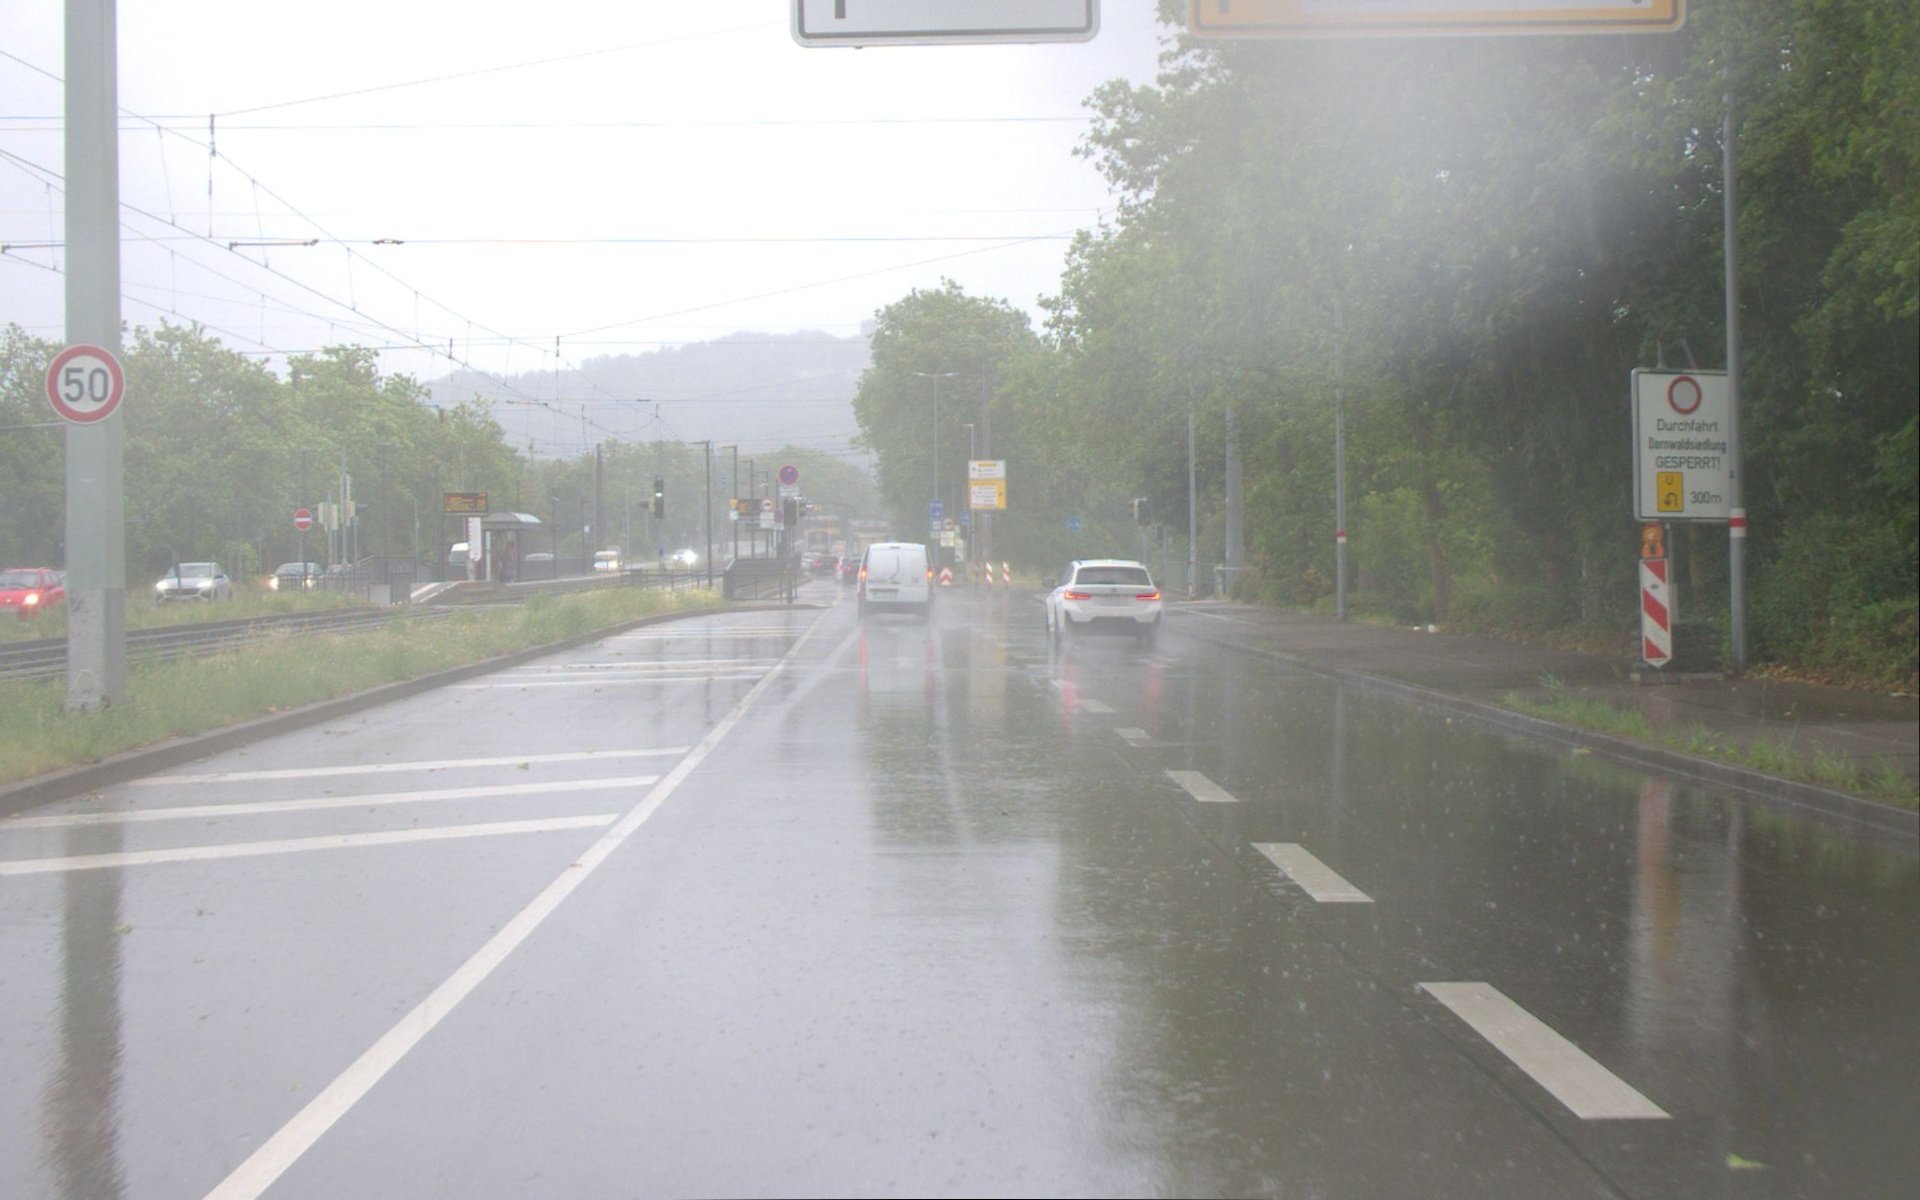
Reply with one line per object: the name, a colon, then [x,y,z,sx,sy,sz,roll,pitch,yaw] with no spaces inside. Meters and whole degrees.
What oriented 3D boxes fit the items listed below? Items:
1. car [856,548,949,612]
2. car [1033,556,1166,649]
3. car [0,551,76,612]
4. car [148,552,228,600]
car: [-1.322,-0.474,79.016,2.077,1.415,4.000,0,1,-1]
car: [2.336,0.011,58.625,1.948,1.531,4.467,0,1,-2]
car: [-23.561,-0.490,86.535,1.720,1.489,4.000,0,1,-2]
car: [-24.237,-0.771,108.090,1.720,1.489,4.000,0,1,-2]
